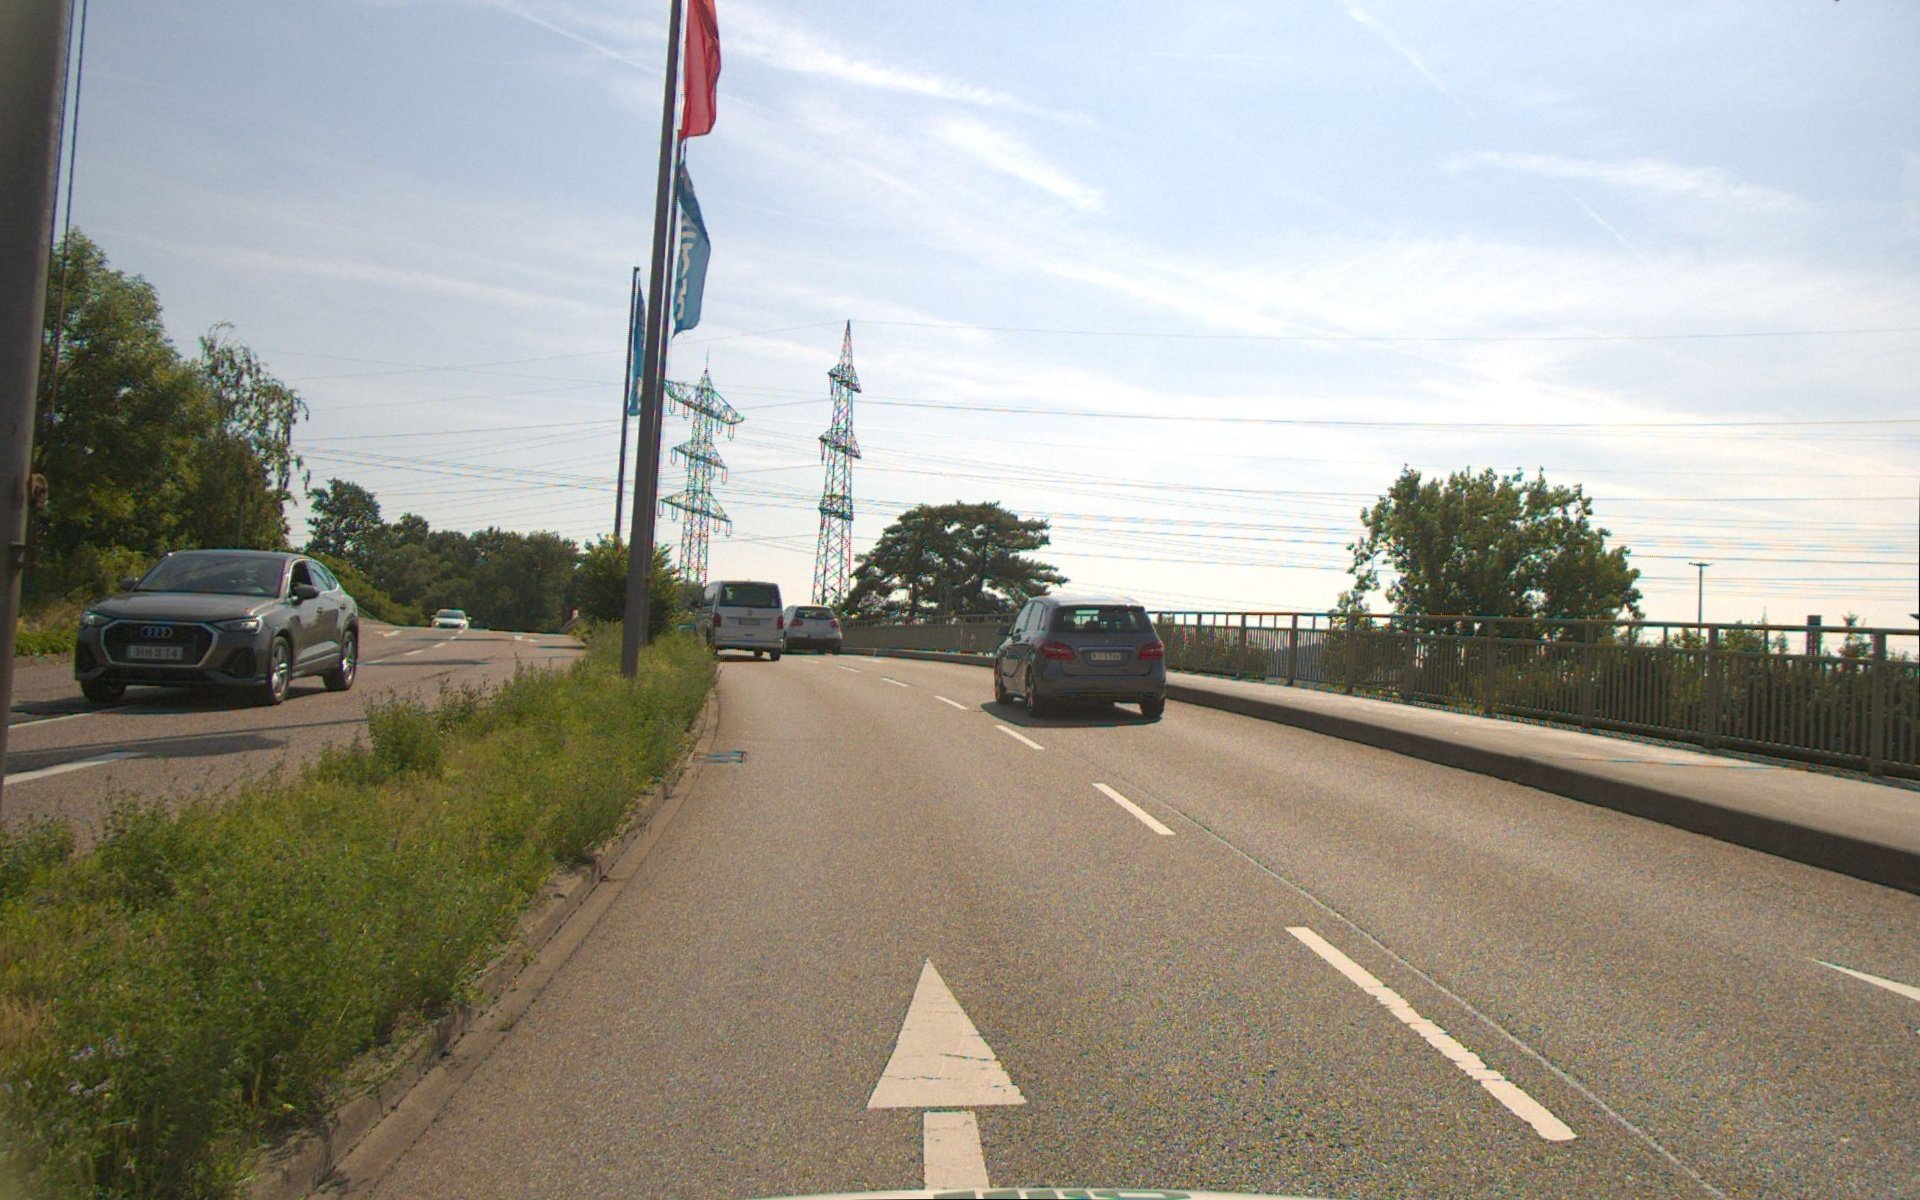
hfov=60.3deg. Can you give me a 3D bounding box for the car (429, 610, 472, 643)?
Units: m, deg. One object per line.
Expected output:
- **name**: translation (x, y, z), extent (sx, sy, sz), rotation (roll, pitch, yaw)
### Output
- **car**: translation (-25.794, 1.325, 83.823), extent (1.766, 1.578, 3.986), rotation (1, -1, -13)

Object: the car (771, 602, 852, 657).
- **car**: translation (-4.643, 0.876, 51.142), extent (1.825, 1.556, 4.128), rotation (2, 0, -14)

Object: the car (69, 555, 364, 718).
- **car**: translation (-7.683, 0.304, 17.536), extent (1.750, 1.510, 4.252), rotation (0, 1, -9)

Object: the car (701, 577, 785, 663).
- **car**: translation (-5.594, 0.482, 42.278), extent (2.002, 2.049, 3.991), rotation (-1, 0, -9)

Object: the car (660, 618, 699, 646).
- **car**: translation (-14.992, 1.724, 88.348), extent (1.743, 1.355, 3.727), rotation (4, -2, -13)

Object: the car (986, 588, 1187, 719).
- **car**: translation (1.608, 0.698, 22.491), extent (1.822, 1.556, 4.135), rotation (2, -1, -8)
